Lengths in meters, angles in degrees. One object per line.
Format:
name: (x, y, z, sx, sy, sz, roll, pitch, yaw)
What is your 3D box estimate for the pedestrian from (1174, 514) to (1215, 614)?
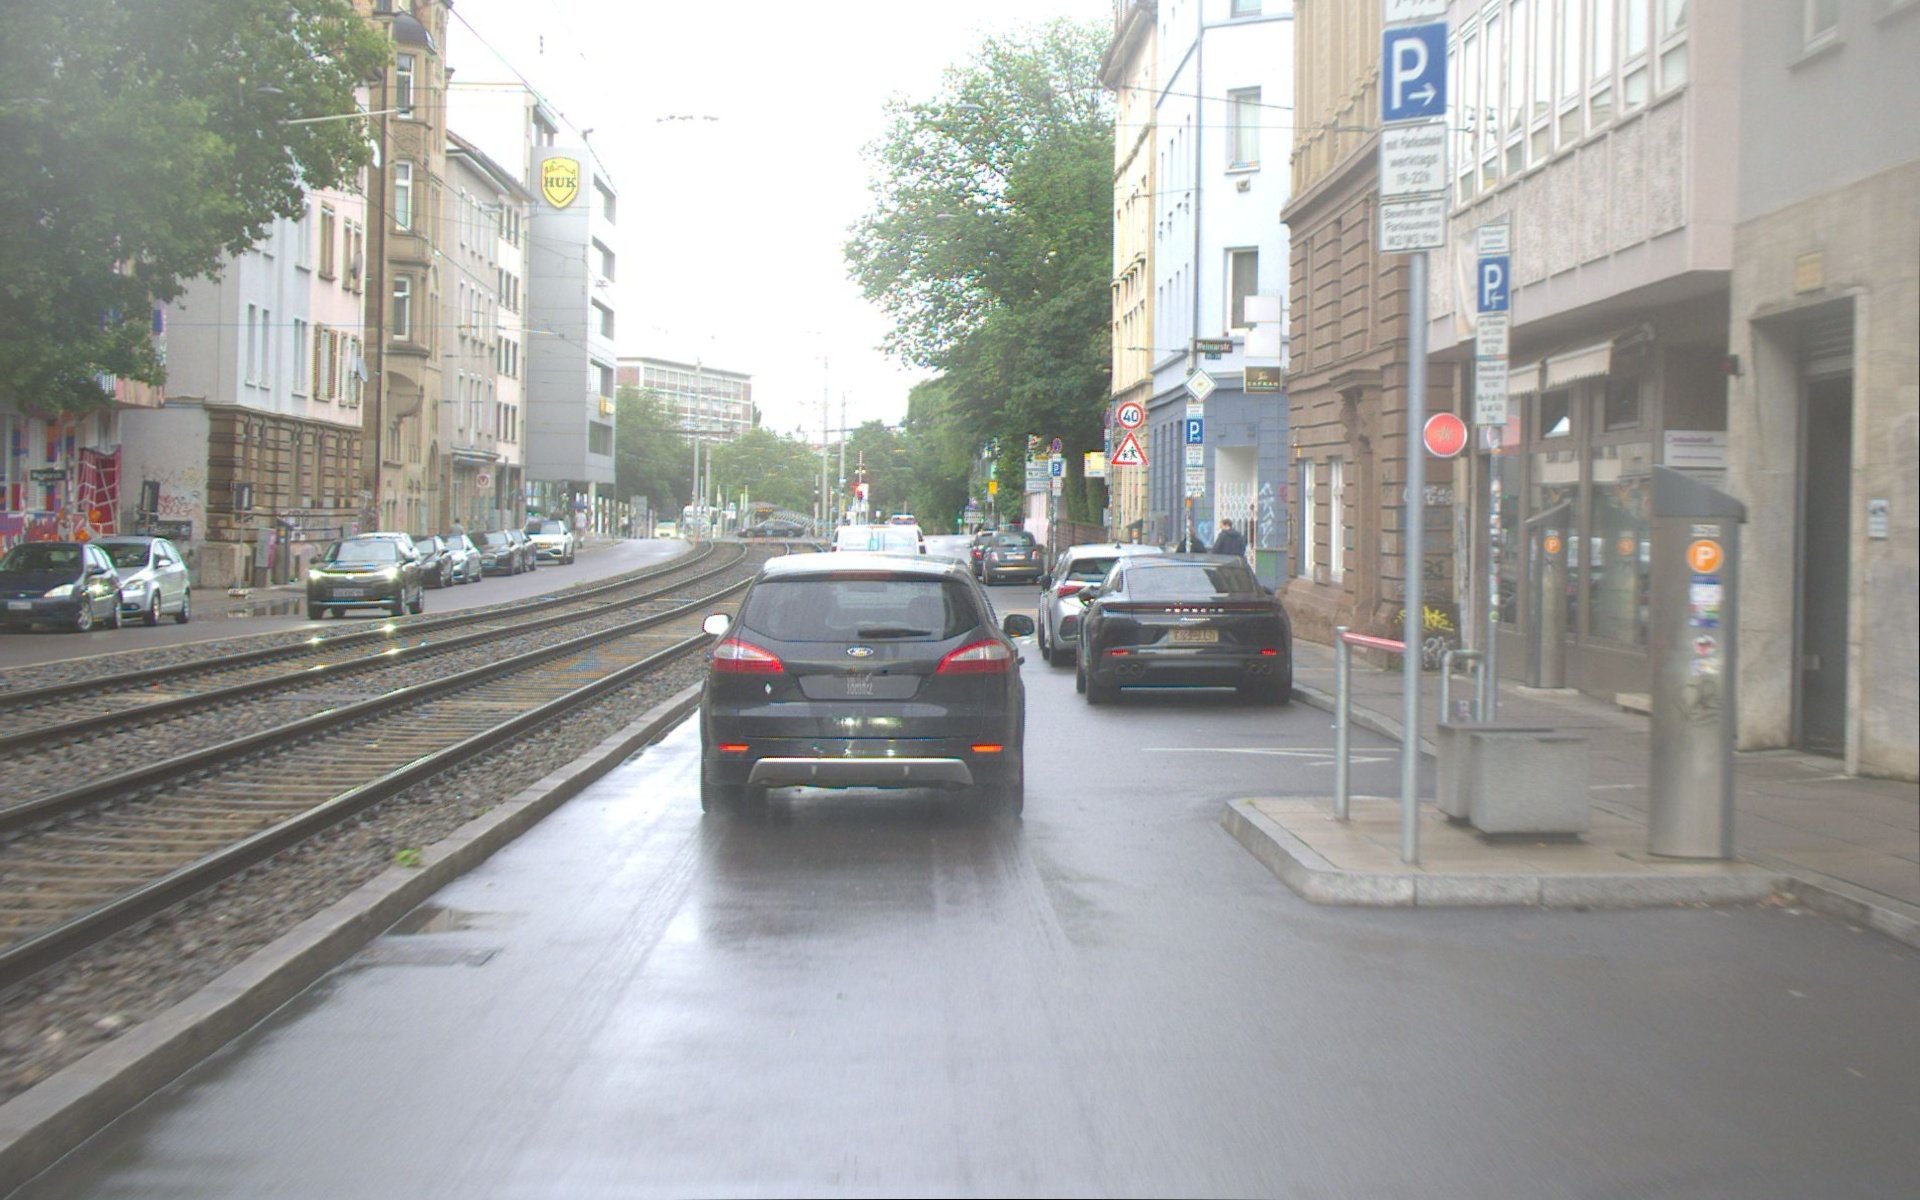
pedestrian: (4.396, -0.681, 64.495, 0.661, 1.845, 0.821, 1, 1, -2)

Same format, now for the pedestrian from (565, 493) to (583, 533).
pedestrian: (-17.880, -4.018, 159.121, 0.744, 1.847, 0.839, 0, 0, -2)

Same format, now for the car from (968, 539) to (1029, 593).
car: (1.121, -1.011, 101.513, 1.642, 1.510, 4.039, 1, 1, -2)

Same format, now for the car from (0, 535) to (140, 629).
car: (-14.702, -0.309, 56.011, 1.744, 1.464, 4.220, 0, 1, -1)

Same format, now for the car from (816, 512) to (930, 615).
car: (-1.550, -0.643, 62.842, 1.993, 1.810, 4.271, 0, 0, 0)

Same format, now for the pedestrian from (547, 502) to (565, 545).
pedestrian: (-17.975, -3.402, 152.939, 0.744, 1.847, 0.839, 0, 0, -2)

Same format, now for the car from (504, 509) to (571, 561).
car: (-15.716, -2.423, 128.223, 1.993, 1.833, 5.071, 1, 1, -2)

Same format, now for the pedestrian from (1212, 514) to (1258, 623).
pedestrian: (5.168, -0.597, 64.565, 0.736, 2.007, 0.821, 1, 1, -2)

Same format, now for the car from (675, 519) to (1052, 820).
car: (-0.523, 0.366, 20.366, 1.993, 1.588, 4.271, 0, 0, 0)

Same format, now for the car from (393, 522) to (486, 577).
car: (-15.222, -1.482, 100.751, 1.993, 1.514, 4.992, 1, 1, -1)

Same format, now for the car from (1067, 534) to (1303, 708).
car: (2.139, 0.191, 33.829, 1.993, 1.588, 4.572, 0, 0, 0)

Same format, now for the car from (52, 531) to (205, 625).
car: (-14.691, -0.408, 60.956, 1.721, 1.565, 4.220, 1, 1, -1)

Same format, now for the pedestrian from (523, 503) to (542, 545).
pedestrian: (-19.026, -3.380, 152.873, 0.744, 1.847, 0.839, 0, 0, -2)

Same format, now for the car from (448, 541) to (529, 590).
car: (-15.169, -1.118, 110.849, 1.993, 1.514, 4.676, 1, 1, -1)

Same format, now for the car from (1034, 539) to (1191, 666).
car: (1.954, -0.010, 45.144, 1.746, 1.518, 4.355, 1, 1, -1)

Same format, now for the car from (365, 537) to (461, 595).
car: (-15.072, -0.951, 94.936, 1.993, 1.514, 4.209, 1, 1, -1)

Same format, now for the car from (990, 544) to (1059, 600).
car: (1.803, -0.798, 96.826, 1.738, 1.484, 4.001, 1, 1, -2)

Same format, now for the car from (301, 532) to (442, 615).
car: (-11.372, -0.533, 66.691, 1.993, 1.514, 4.444, 1, 1, -1)
